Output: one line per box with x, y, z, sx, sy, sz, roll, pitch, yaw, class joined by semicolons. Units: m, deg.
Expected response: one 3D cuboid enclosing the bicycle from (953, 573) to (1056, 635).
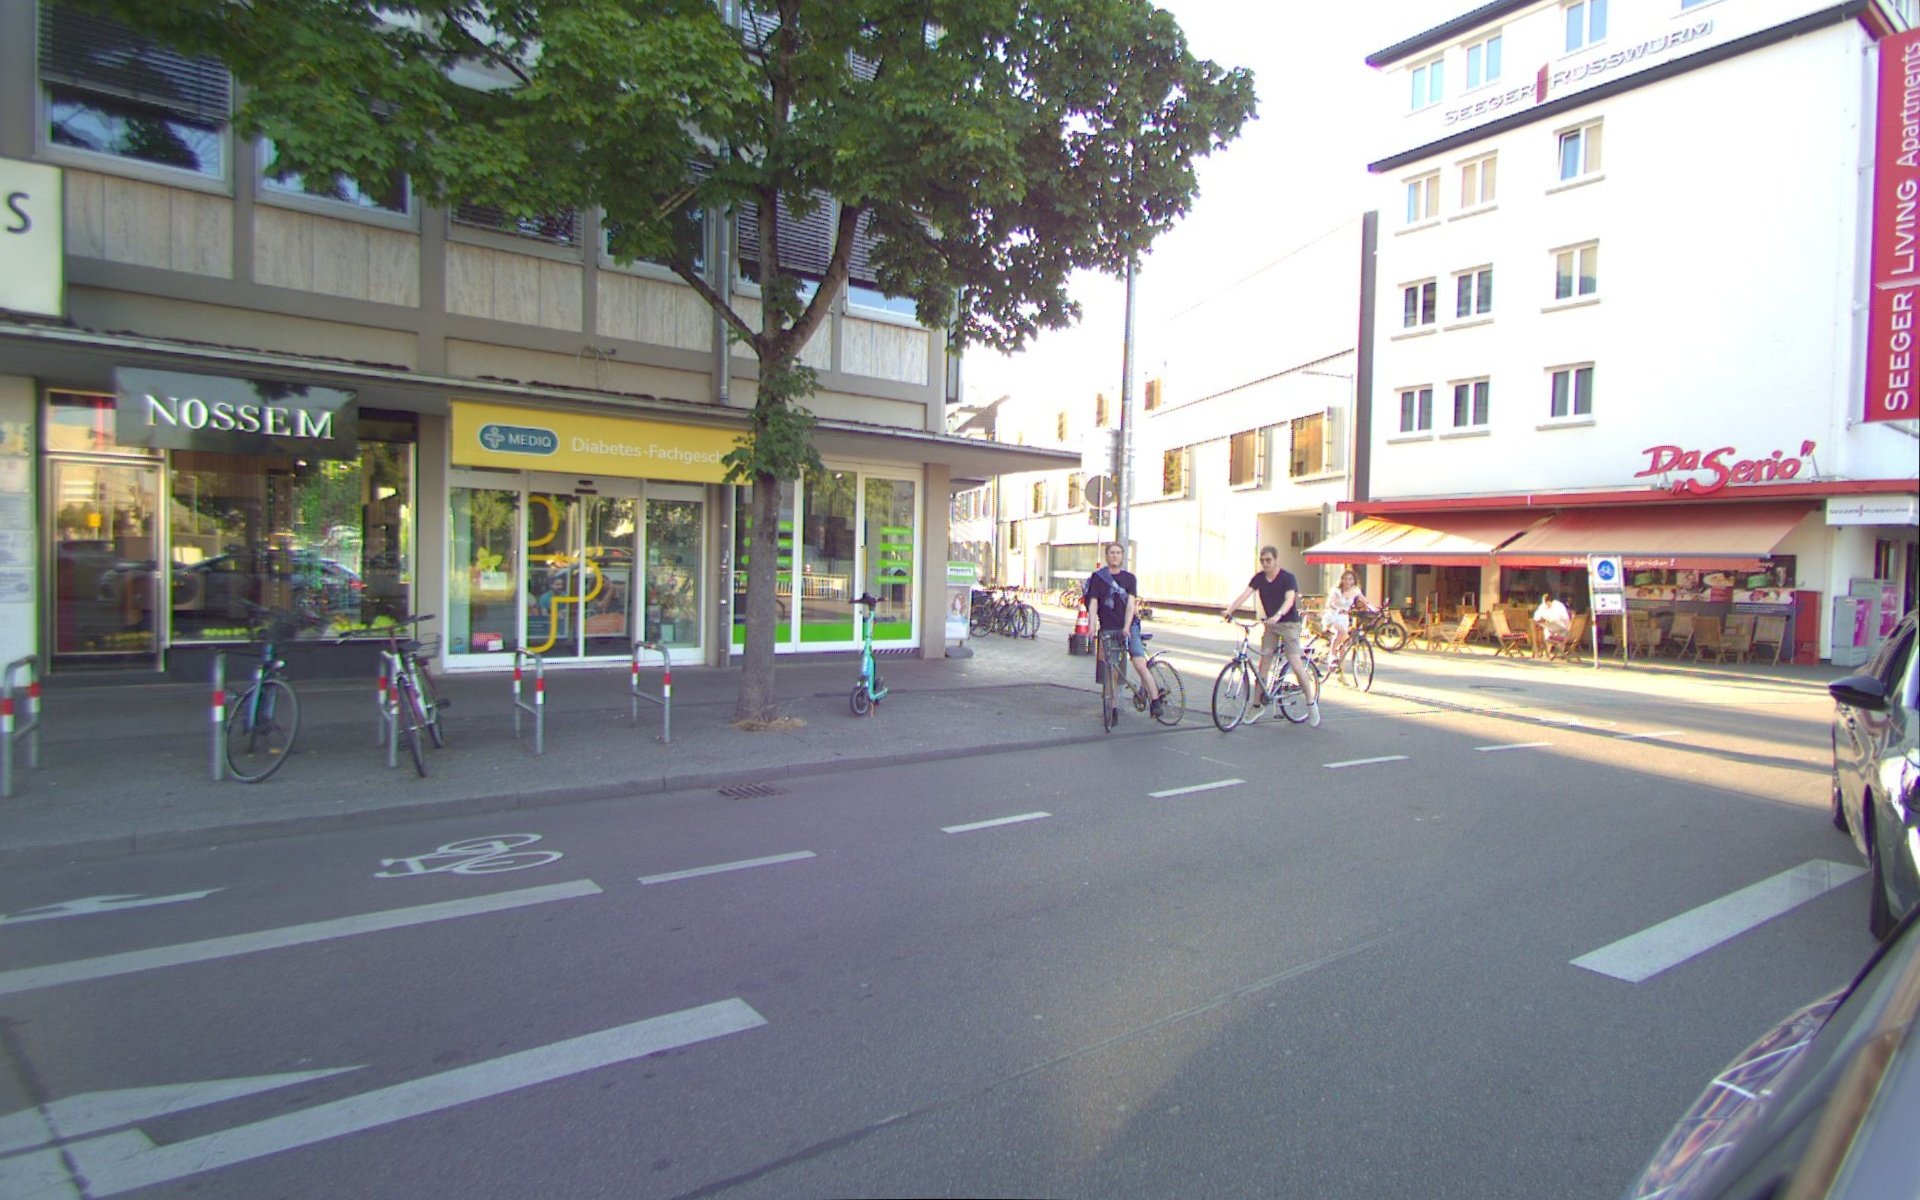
0.963;0.084;21.914;2.068;1.235;0.706;2;1;-14;bicycle

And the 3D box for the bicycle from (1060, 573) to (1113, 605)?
5.396;-0.471;43.060;2.068;1.235;0.706;2;1;-14;bicycle

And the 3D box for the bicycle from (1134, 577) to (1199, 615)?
7.194;-0.138;35.317;2.068;1.235;0.706;2;1;-14;bicycle

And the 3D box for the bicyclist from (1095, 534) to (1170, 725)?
1.741;0.276;10.198;0.550;1.853;0.465;0;2;-45;bicyclist

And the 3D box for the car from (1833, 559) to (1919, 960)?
5.613;0.621;5.060;1.725;1.540;4.272;2;1;39;car

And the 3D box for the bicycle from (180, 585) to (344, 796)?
-4.916;0.550;7.245;0.654;1.251;1.914;1;2;-25;bicycle

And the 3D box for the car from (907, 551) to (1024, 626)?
0.053;-0.370;27.187;1.854;1.771;4.010;3;1;-19;car

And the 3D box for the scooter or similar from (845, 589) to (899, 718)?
-0.917;0.530;10.750;0.332;1.250;1.276;2;2;5;scooter or similar

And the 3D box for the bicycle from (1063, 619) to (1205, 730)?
1.795;0.711;10.271;0.465;0.982;1.771;3;2;45;bicycle

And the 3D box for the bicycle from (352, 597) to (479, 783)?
-4.029;0.585;7.611;0.654;1.124;2.007;1;2;-23;bicycle

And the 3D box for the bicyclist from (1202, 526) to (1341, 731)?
3.150;0.253;10.222;1.095;1.941;0.839;0;2;-41;bicyclist

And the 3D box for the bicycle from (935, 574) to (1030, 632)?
0.542;0.072;24.162;2.068;1.235;0.706;4;1;-14;bicycle

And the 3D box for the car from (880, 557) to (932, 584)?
-4.299;-2.332;80.617;3.917;2.039;2.004;0;1;-10;car

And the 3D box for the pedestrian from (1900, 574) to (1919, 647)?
23.902;0.261;25.105;0.594;1.782;0.526;2;1;9;pedestrian

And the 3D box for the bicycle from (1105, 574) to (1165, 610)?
6.591;-0.294;38.144;2.068;1.235;0.706;2;1;-14;bicycle

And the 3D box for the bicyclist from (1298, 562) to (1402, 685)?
5.448;0.305;14.197;0.823;1.643;1.117;1;2;-13;bicyclist

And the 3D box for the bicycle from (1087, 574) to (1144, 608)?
6.173;-0.362;40.093;2.068;1.235;0.706;2;1;-14;bicycle

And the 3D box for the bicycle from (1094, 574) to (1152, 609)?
6.308;-0.325;39.220;2.068;1.235;0.706;2;1;-14;bicycle

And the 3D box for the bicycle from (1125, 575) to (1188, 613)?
7.027;-0.214;36.186;2.068;1.235;0.706;2;1;-14;bicycle

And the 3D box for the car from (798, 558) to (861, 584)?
-9.212;-2.041;71.430;3.929;1.731;1.998;0;2;-40;car

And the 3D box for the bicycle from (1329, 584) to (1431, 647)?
9.593;0.329;23.183;0.690;1.303;2.115;0;2;-33;bicycle

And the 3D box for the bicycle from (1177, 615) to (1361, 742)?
3.160;0.733;10.249;2.042;1.032;0.839;-2;4;-42;bicycle

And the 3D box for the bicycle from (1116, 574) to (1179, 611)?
6.851;-0.263;36.989;2.068;1.235;0.706;2;1;-14;bicycle

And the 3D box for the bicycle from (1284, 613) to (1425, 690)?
5.449;0.683;14.146;0.823;0.892;2.017;1;2;-13;bicycle

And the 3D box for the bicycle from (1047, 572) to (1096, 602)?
5.032;-0.573;45.573;2.068;1.235;0.706;2;1;-21;bicycle

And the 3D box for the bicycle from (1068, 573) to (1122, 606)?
5.628;-0.442;42.339;2.068;1.235;0.706;2;1;-14;bicycle

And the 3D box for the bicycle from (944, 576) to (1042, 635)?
0.740;0.126;23.012;2.068;1.235;0.706;2;1;-14;bicycle

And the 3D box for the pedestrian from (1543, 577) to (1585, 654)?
12.518;0.304;20.971;0.563;1.560;0.573;0;2;-44;pedestrian
